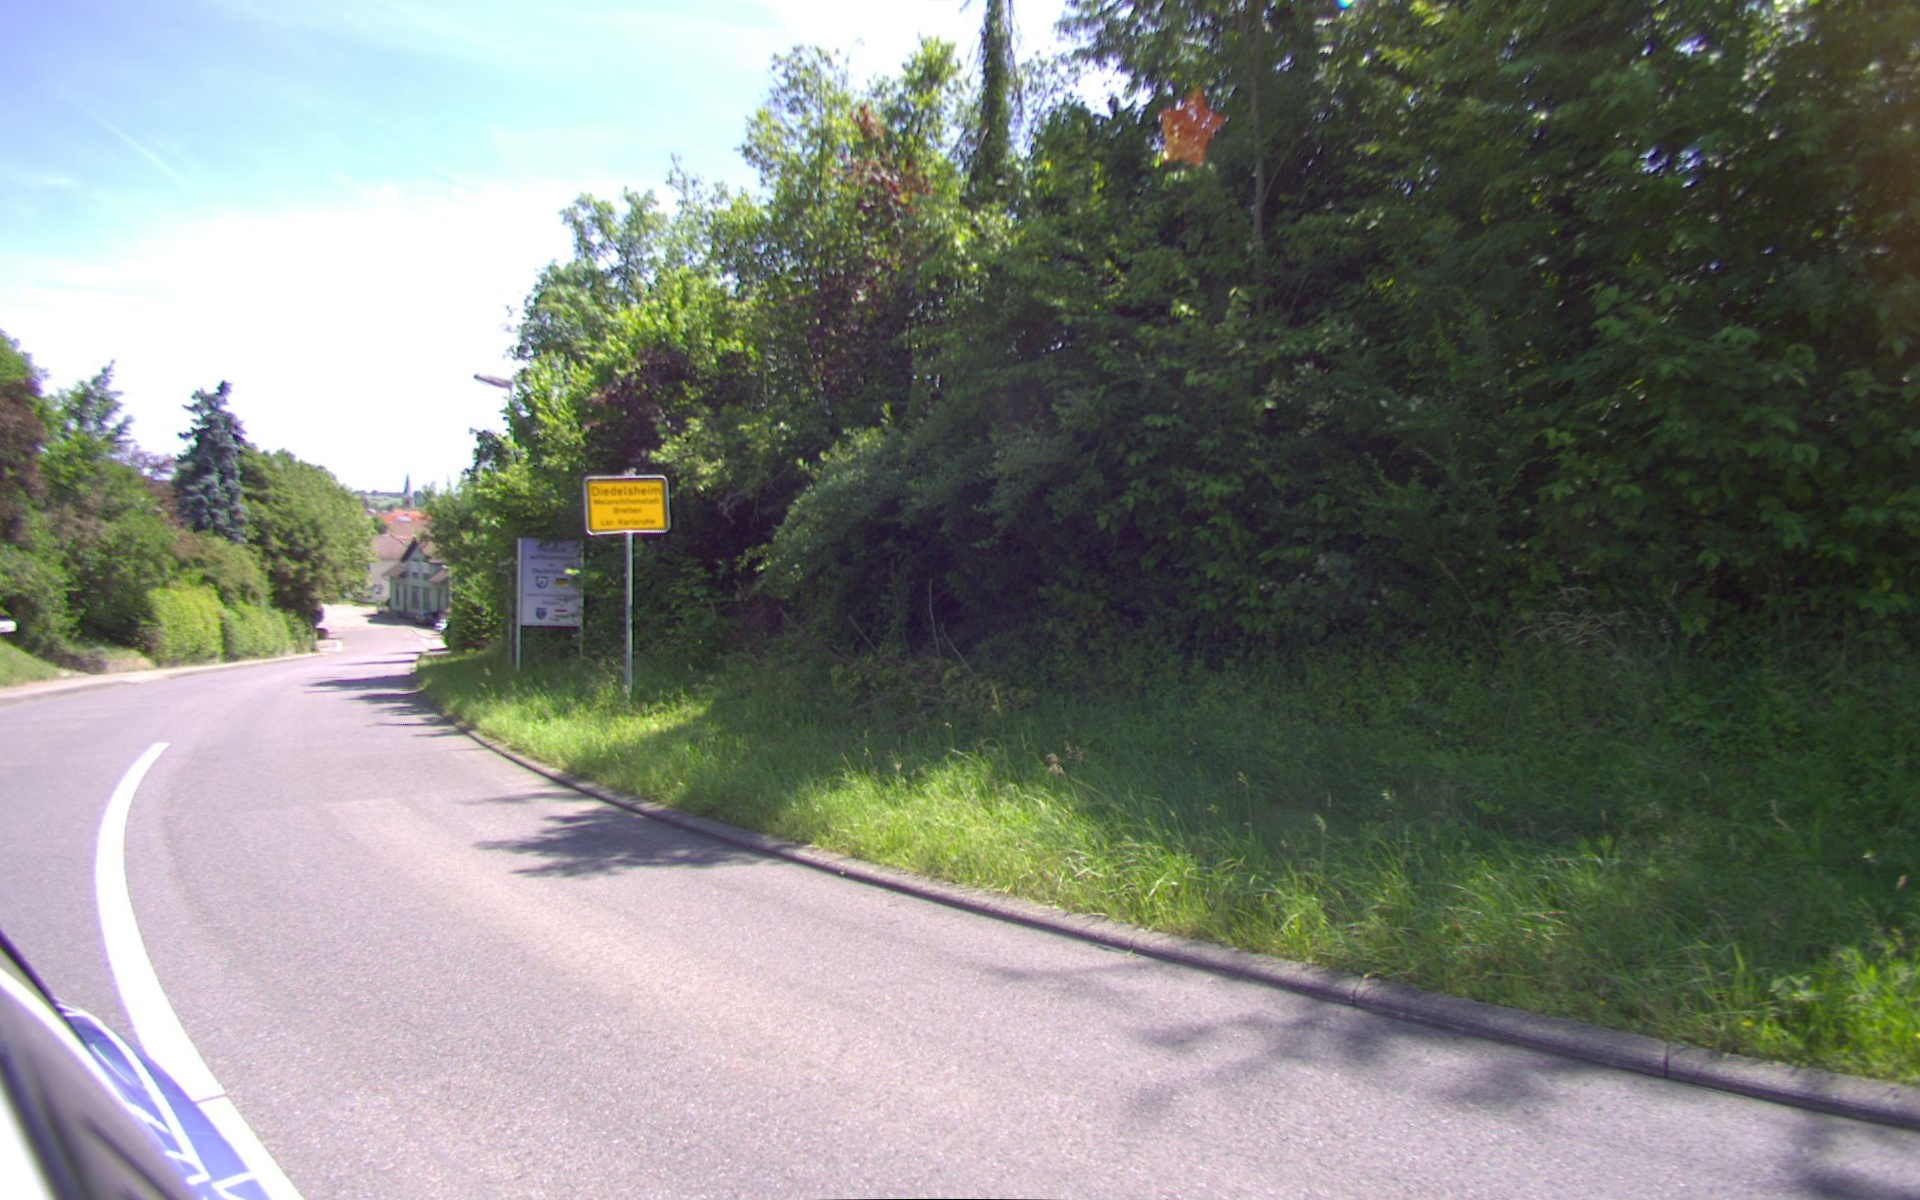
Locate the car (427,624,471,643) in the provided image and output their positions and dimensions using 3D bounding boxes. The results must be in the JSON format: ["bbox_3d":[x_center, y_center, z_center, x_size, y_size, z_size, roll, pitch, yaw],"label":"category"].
[{"bbox_3d":[-49.132,3.209,97.325,3.527,1.395,1.518,-5,4,-39],"label":"car"}]
